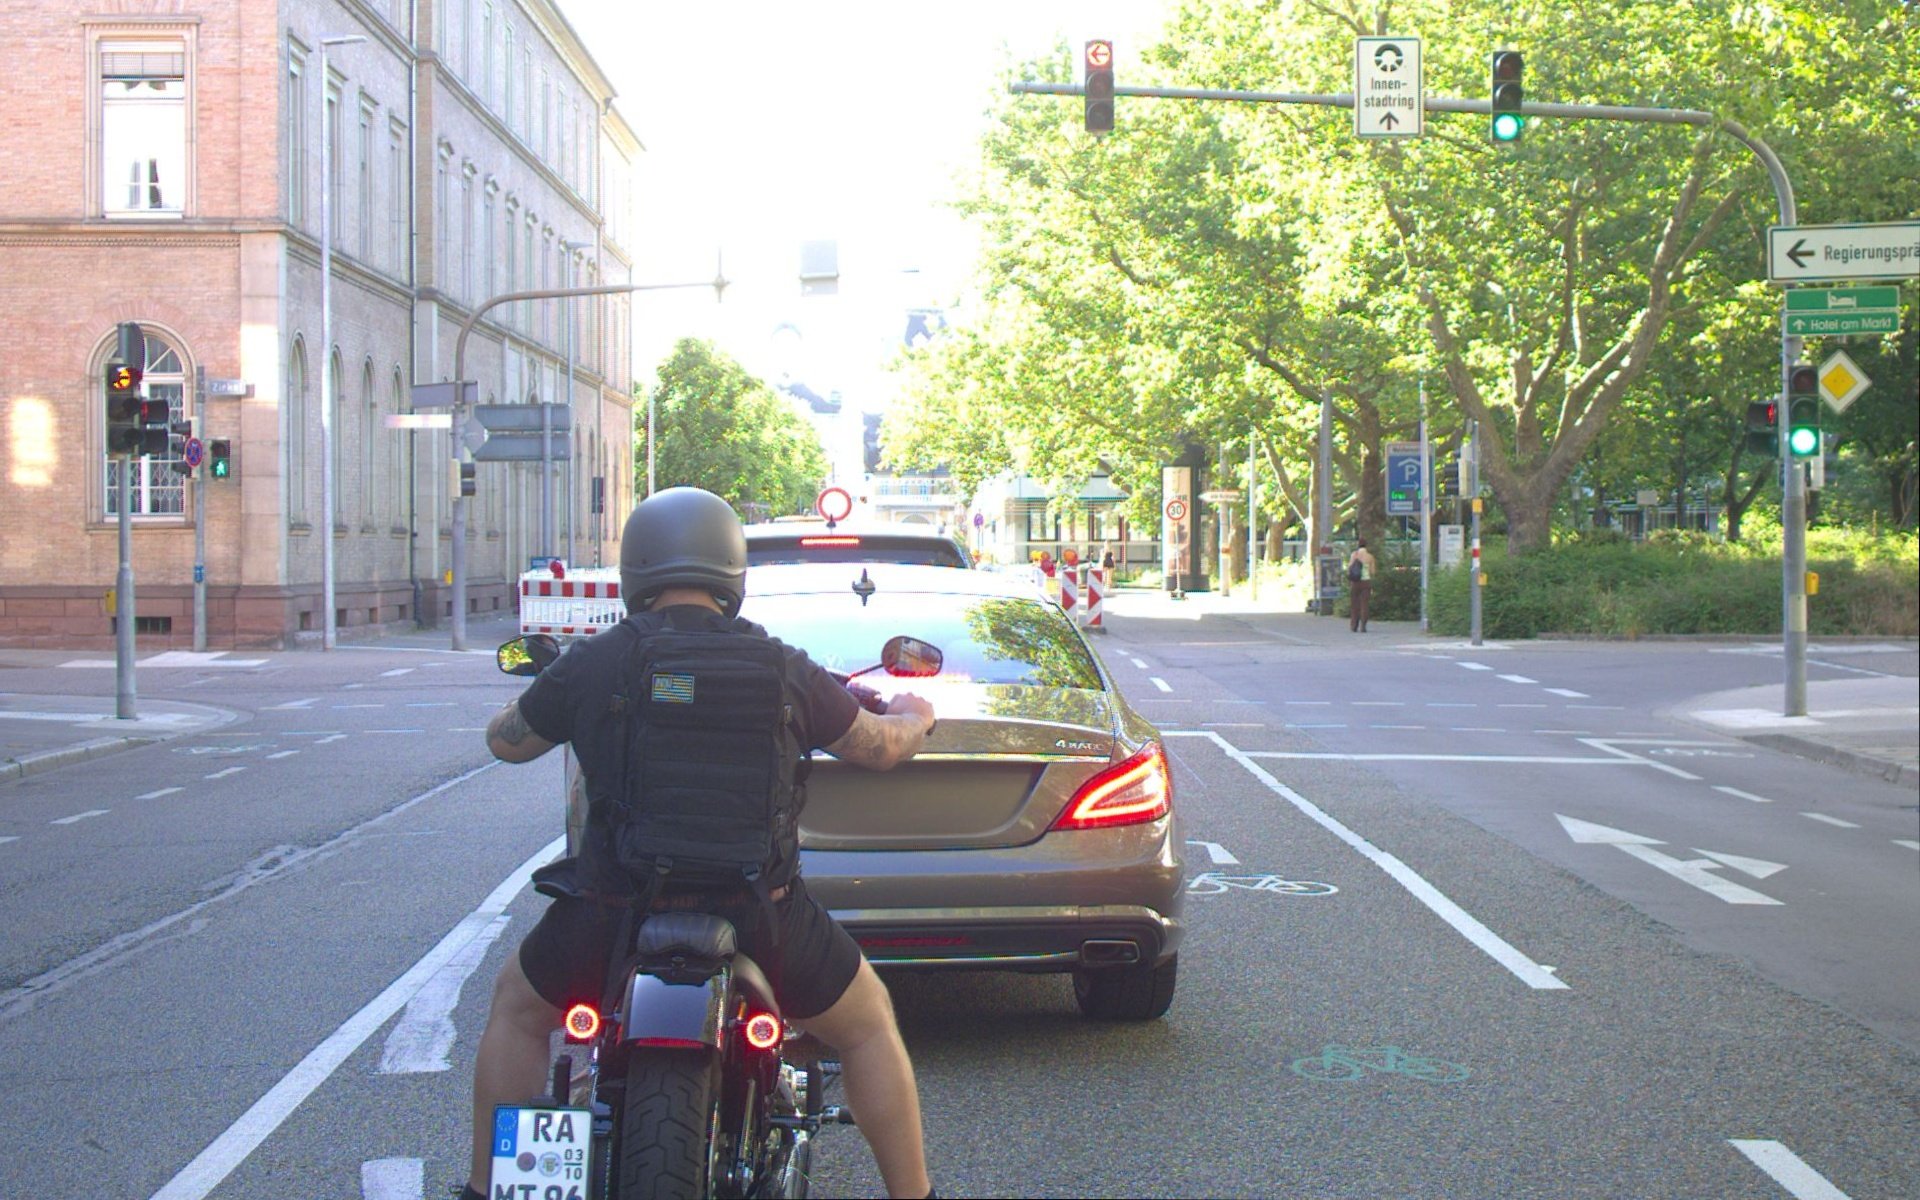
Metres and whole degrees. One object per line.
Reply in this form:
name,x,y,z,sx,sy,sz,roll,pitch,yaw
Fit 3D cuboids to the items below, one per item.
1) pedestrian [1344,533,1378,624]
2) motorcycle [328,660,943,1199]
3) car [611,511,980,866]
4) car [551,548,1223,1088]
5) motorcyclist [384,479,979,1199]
pedestrian,7.392,-0.405,63.346,0.559,1.672,0.565,0,1,-1
motorcycle,-0.547,0.771,6.975,1.007,1.200,2.665,0,1,-1
car,-0.812,0.375,17.632,1.681,1.619,3.841,0,1,-2
car,-0.448,0.562,11.638,1.821,1.471,4.354,0,1,-7
motorcyclist,-0.530,0.567,7.048,1.113,1.607,1.202,0,1,-1
